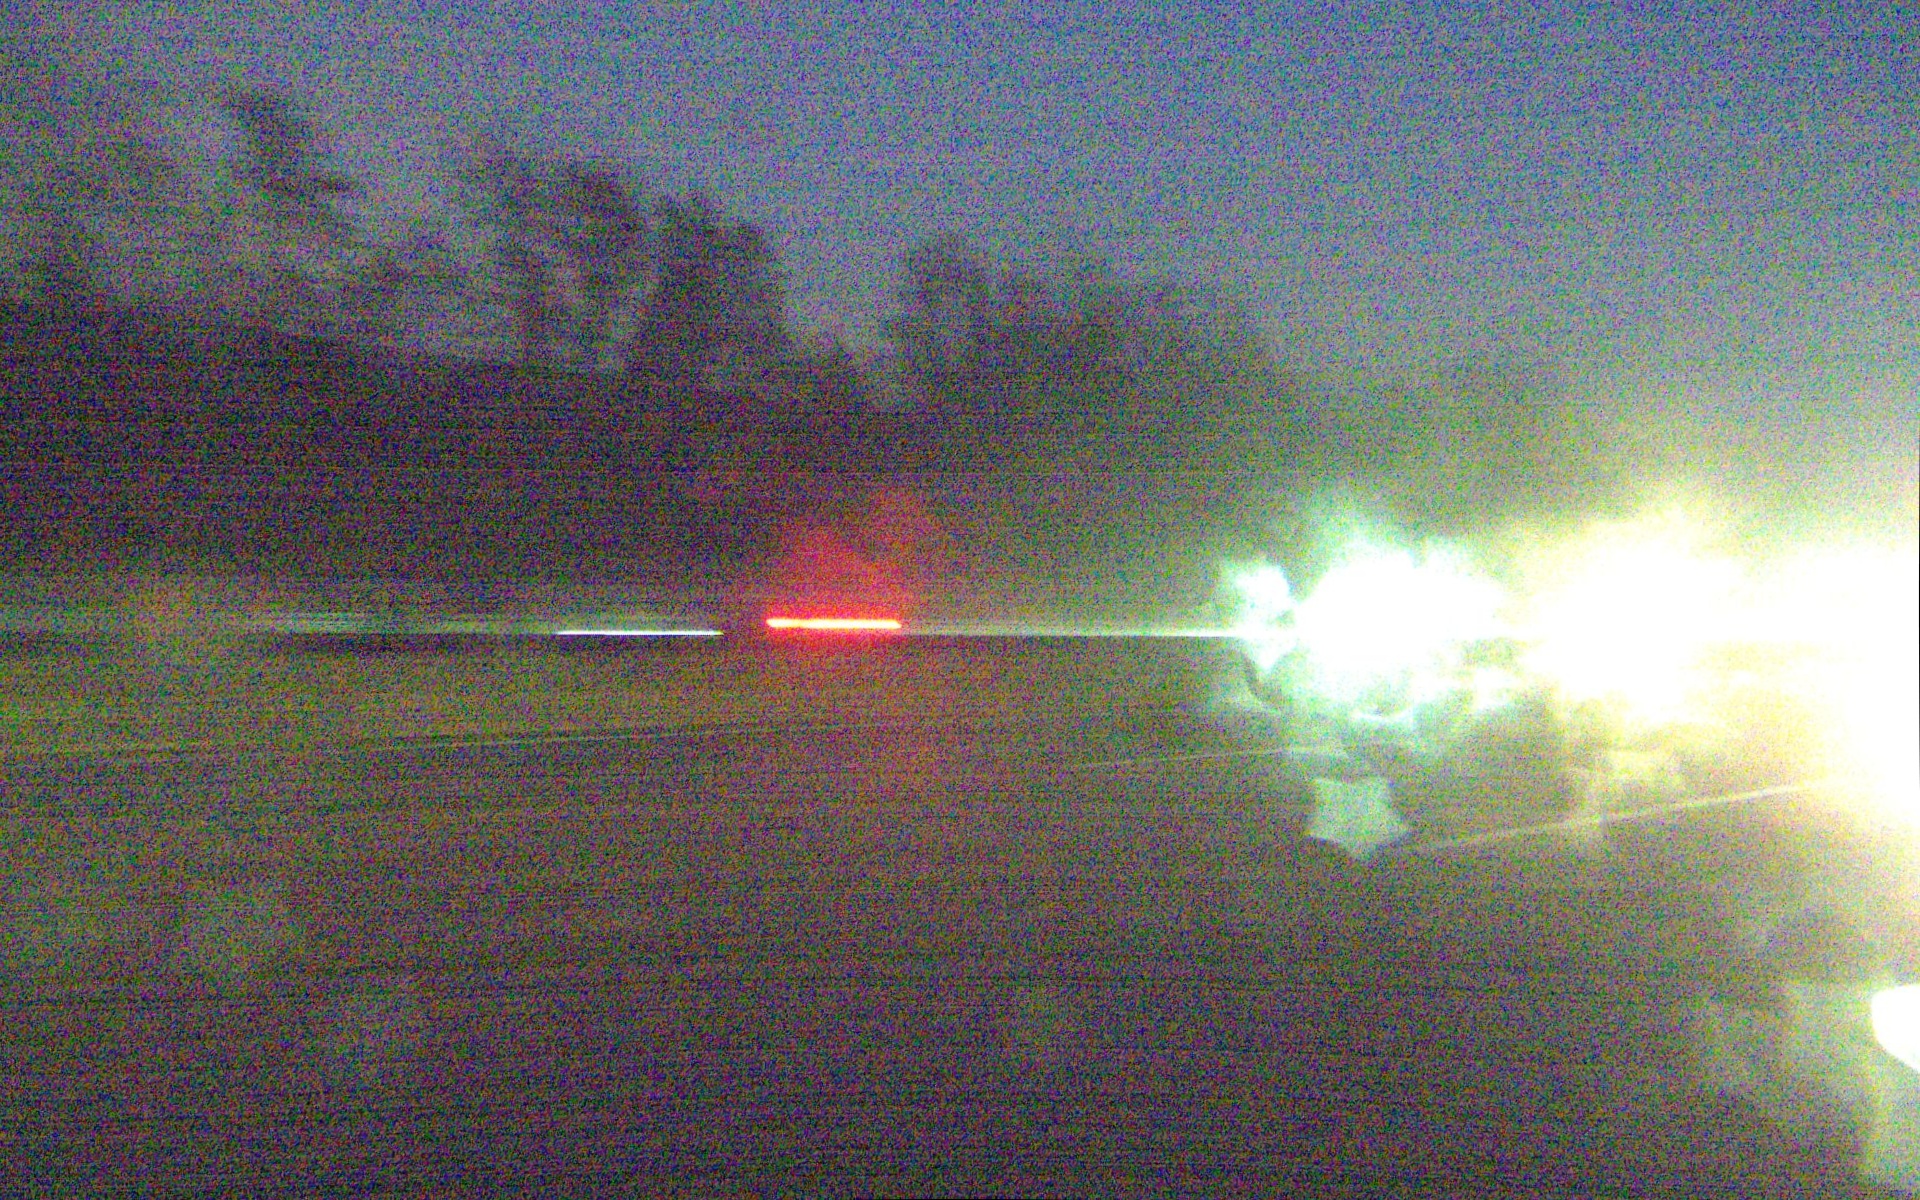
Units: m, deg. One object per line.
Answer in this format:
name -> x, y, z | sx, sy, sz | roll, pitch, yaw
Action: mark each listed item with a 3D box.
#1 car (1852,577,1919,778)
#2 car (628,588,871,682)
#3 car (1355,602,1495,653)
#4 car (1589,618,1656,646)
car -> 11.123, 0.774, 9.896 | 5.063, 1.816, 1.944 | 2, 0, -30
car -> -4.118, 0.664, 19.880 | 4.353, 1.617, 1.766 | 2, 2, -33
car -> 16.359, 0.962, 35.281 | 4.964, 1.617, 1.983 | 1, 2, -31
car -> 38.881, 1.859, 58.926 | 3.941, 1.491, 1.766 | 2, 2, -32
